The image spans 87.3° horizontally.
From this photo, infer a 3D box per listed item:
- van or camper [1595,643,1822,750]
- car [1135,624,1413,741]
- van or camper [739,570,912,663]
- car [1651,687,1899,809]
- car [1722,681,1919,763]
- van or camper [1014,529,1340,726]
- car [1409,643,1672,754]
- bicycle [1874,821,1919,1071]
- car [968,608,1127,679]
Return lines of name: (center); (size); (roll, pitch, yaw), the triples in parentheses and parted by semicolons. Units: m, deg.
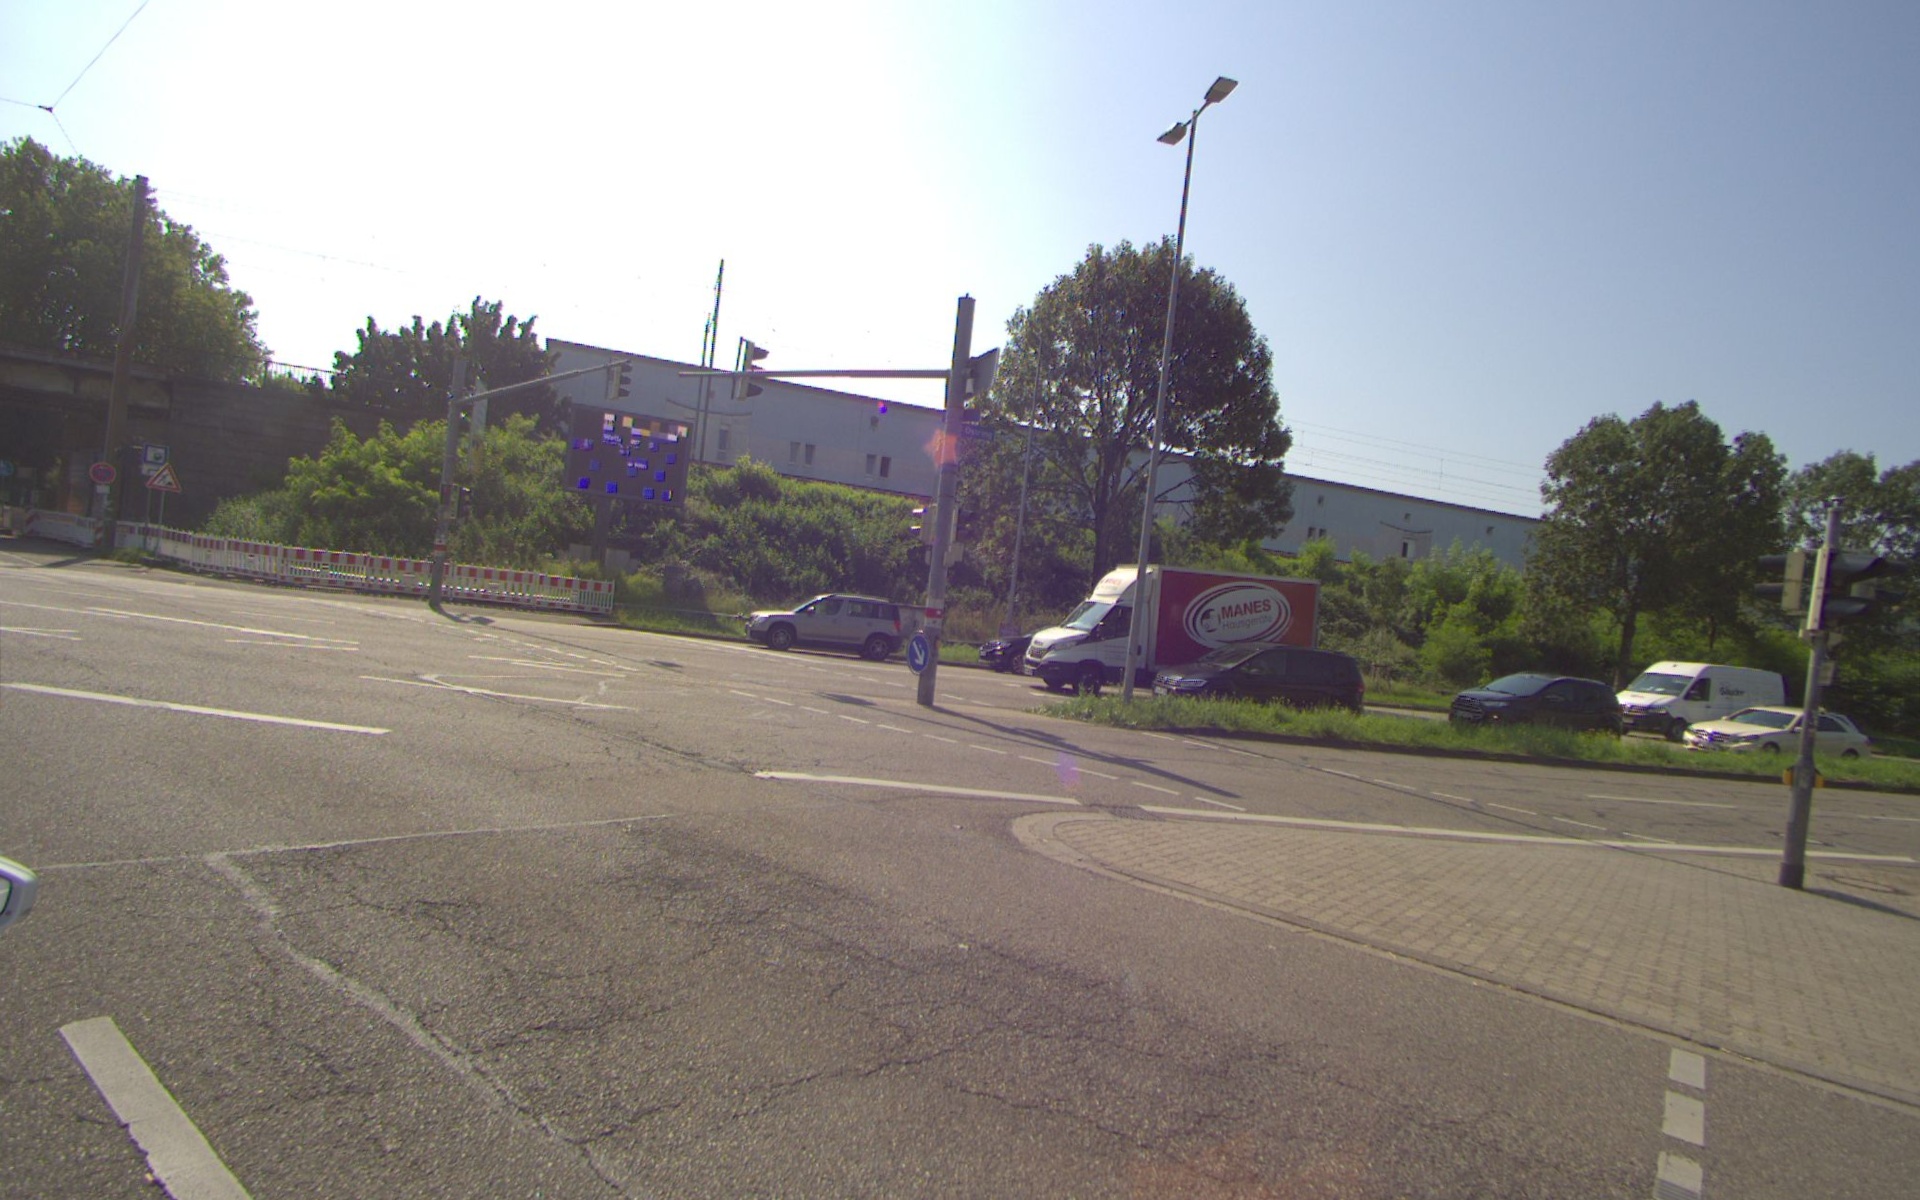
van or camper: (24.294, 3.127, 32.645); (6.767, 2.510, 2.242); (9, -2, -18)
car: (6.403, 1.674, 20.632); (5.118, 1.631, 1.901); (9, -2, -16)
van or camper: (-3.568, 0.449, 26.593); (4.114, 1.796, 1.846); (9, -2, -17)
car: (20.886, 3.768, 25.839); (5.145, 2.287, 2.244); (9, -2, -16)
car: (25.680, 3.620, 29.970); (4.900, 1.627, 2.161); (9, -2, -16)
van or camper: (4.983, 0.700, 23.165); (6.748, 3.400, 2.243); (9, -2, -16)
car: (13.316, 2.255, 23.153); (5.145, 1.760, 2.140); (9, -2, -16)
bicycle: (5.450, 1.709, 4.887); (2.195, 1.101, 0.767); (7, 0, -30)
car: (2.465, 1.241, 28.619); (3.942, 1.570, 1.993); (7, -2, -19)
